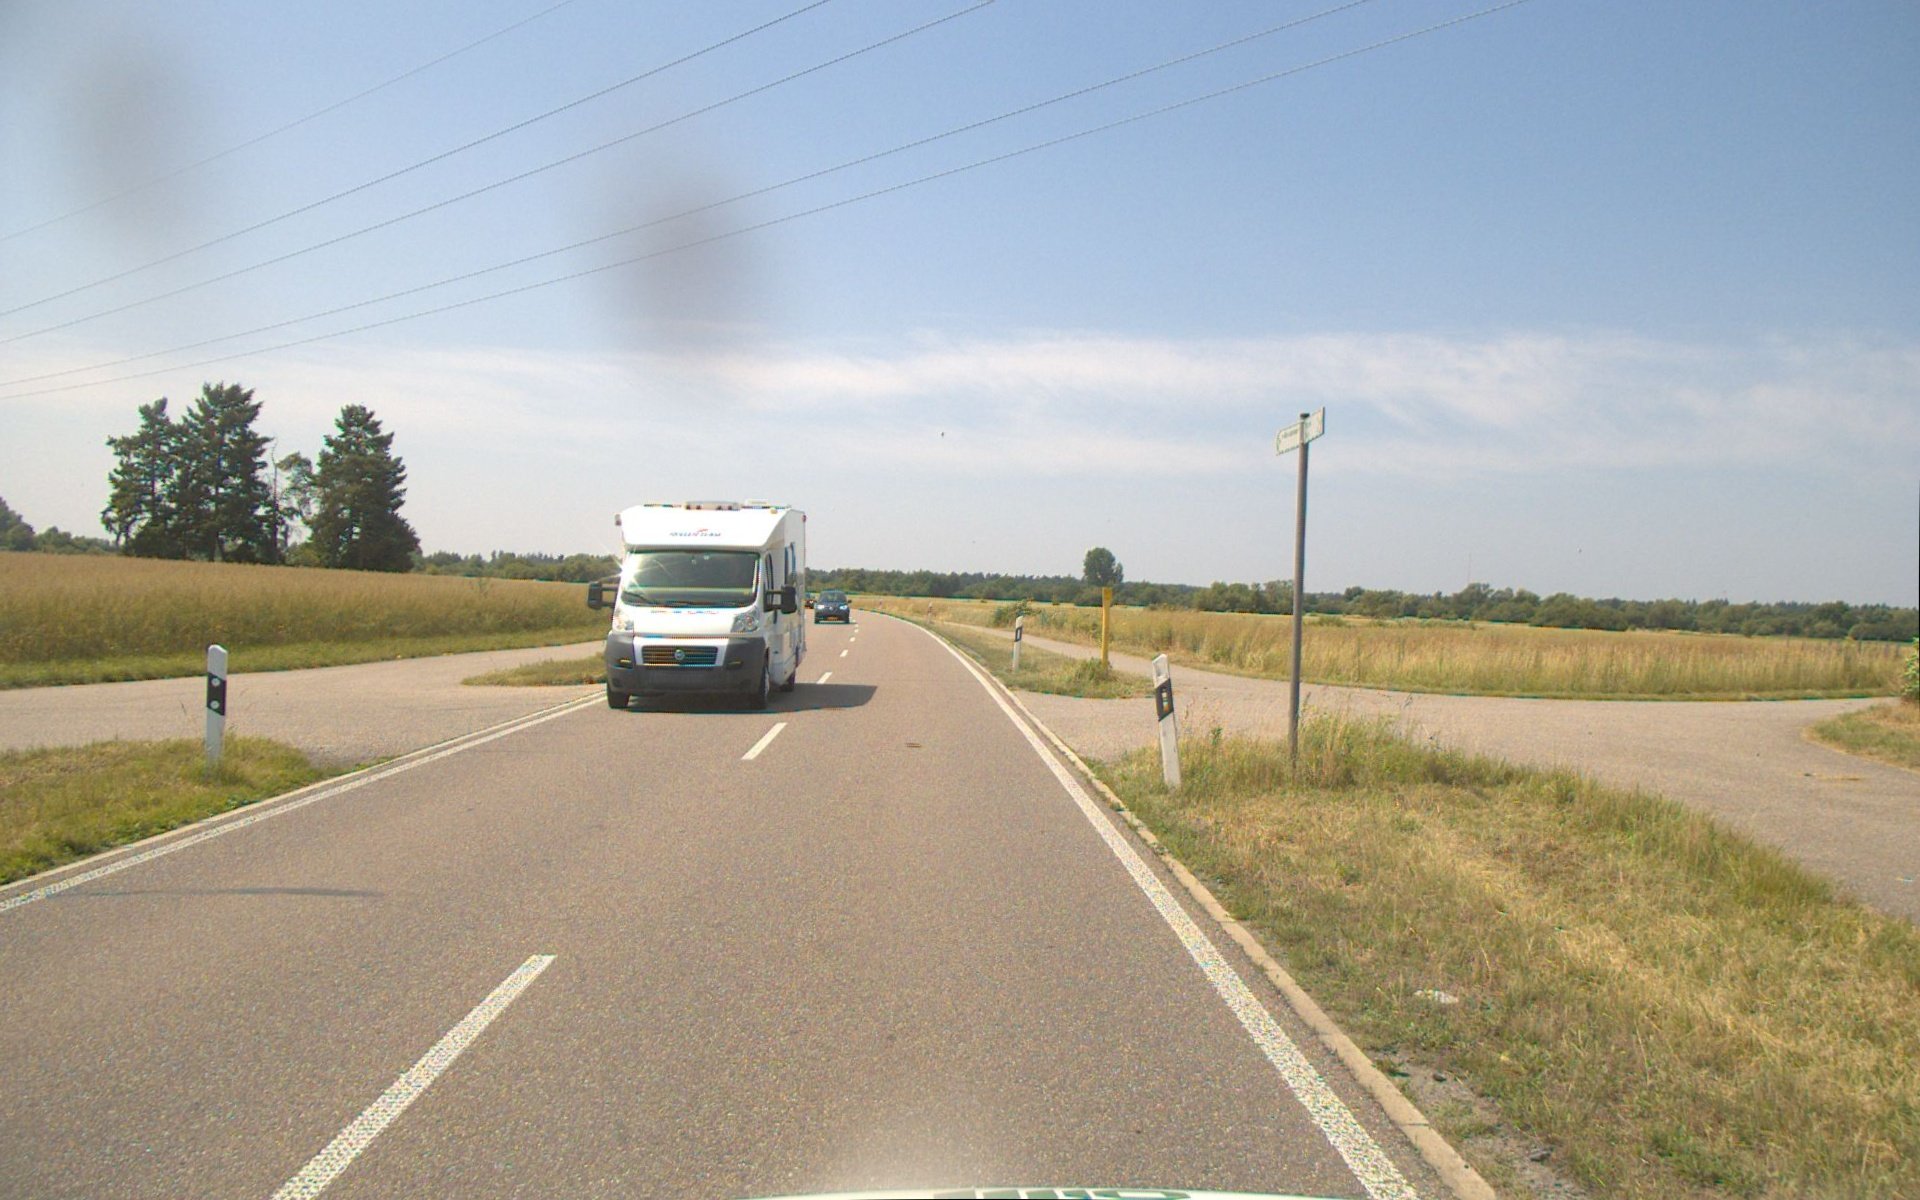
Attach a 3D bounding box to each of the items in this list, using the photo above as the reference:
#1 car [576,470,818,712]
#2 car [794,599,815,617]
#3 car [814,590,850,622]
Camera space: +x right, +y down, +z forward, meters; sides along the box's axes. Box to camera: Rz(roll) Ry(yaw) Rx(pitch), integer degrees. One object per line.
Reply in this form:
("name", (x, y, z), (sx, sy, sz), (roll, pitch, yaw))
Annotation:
("car", (-3.542, -0.124, 24.018), (2.348, 2.896, 7.626), (1, 0, -1))
("car", (-14.089, 0.721, 149.818), (1.677, 1.614, 3.500), (1, -1, -2))
("car", (-6.219, 0.297, 80.843), (1.591, 1.517, 3.998), (1, -1, -2))
